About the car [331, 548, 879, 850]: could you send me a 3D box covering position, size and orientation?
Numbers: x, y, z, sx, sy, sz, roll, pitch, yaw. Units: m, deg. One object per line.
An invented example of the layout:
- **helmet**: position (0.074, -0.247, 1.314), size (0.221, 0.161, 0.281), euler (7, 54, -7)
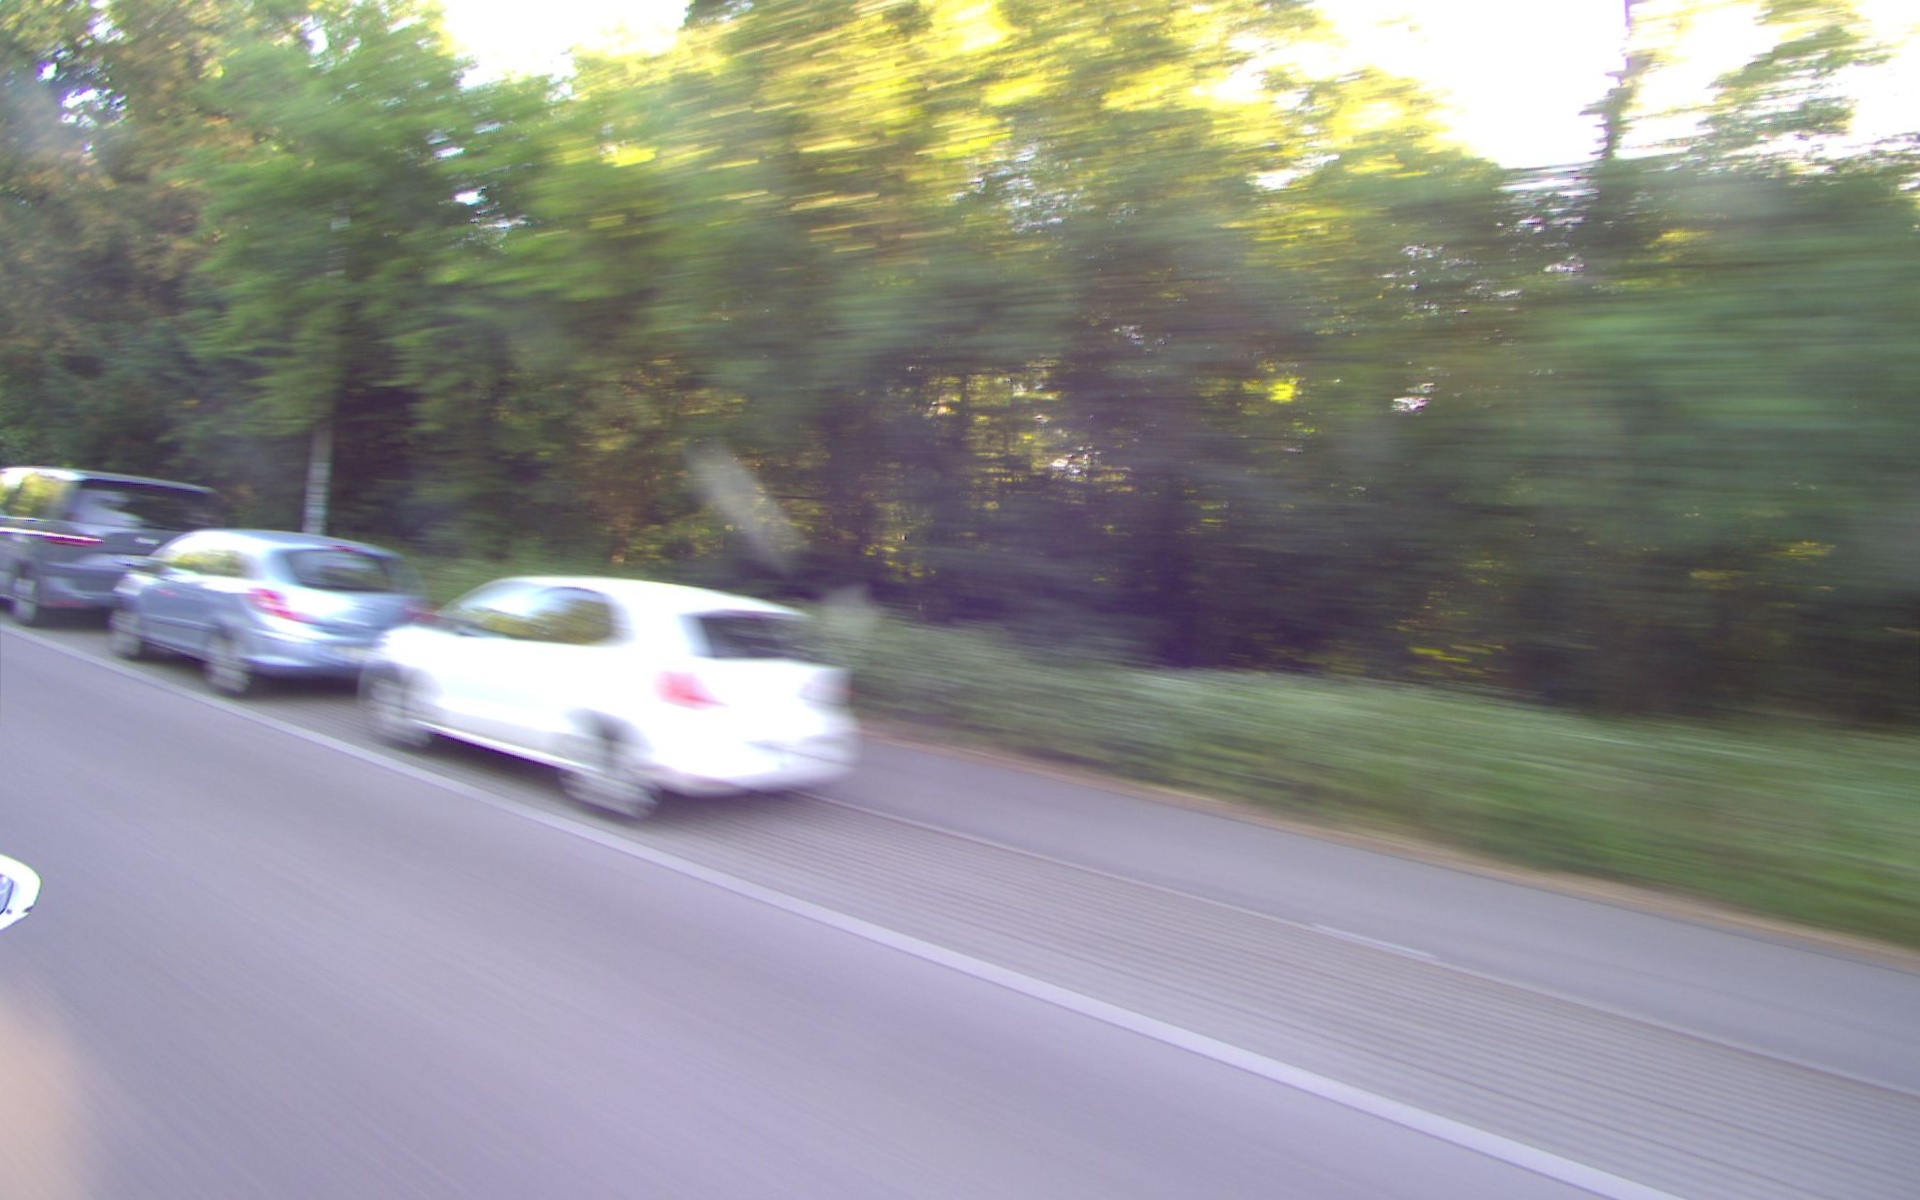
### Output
- **car**: position (-2.787, 0.549, 7.587), size (4.034, 1.460, 1.728), euler (7, 2, 33)

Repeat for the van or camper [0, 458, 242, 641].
- **van or camper**: position (-11.857, -0.755, 13.448), size (5.051, 1.973, 1.894), euler (7, 1, 33)

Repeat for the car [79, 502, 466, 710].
- **car**: position (-7.086, -0.012, 10.243), size (4.148, 1.564, 1.728), euler (7, 1, 33)

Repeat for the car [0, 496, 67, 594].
- **car**: position (-17.043, -1.095, 16.930), size (4.878, 1.460, 1.838), euler (7, 2, 34)
